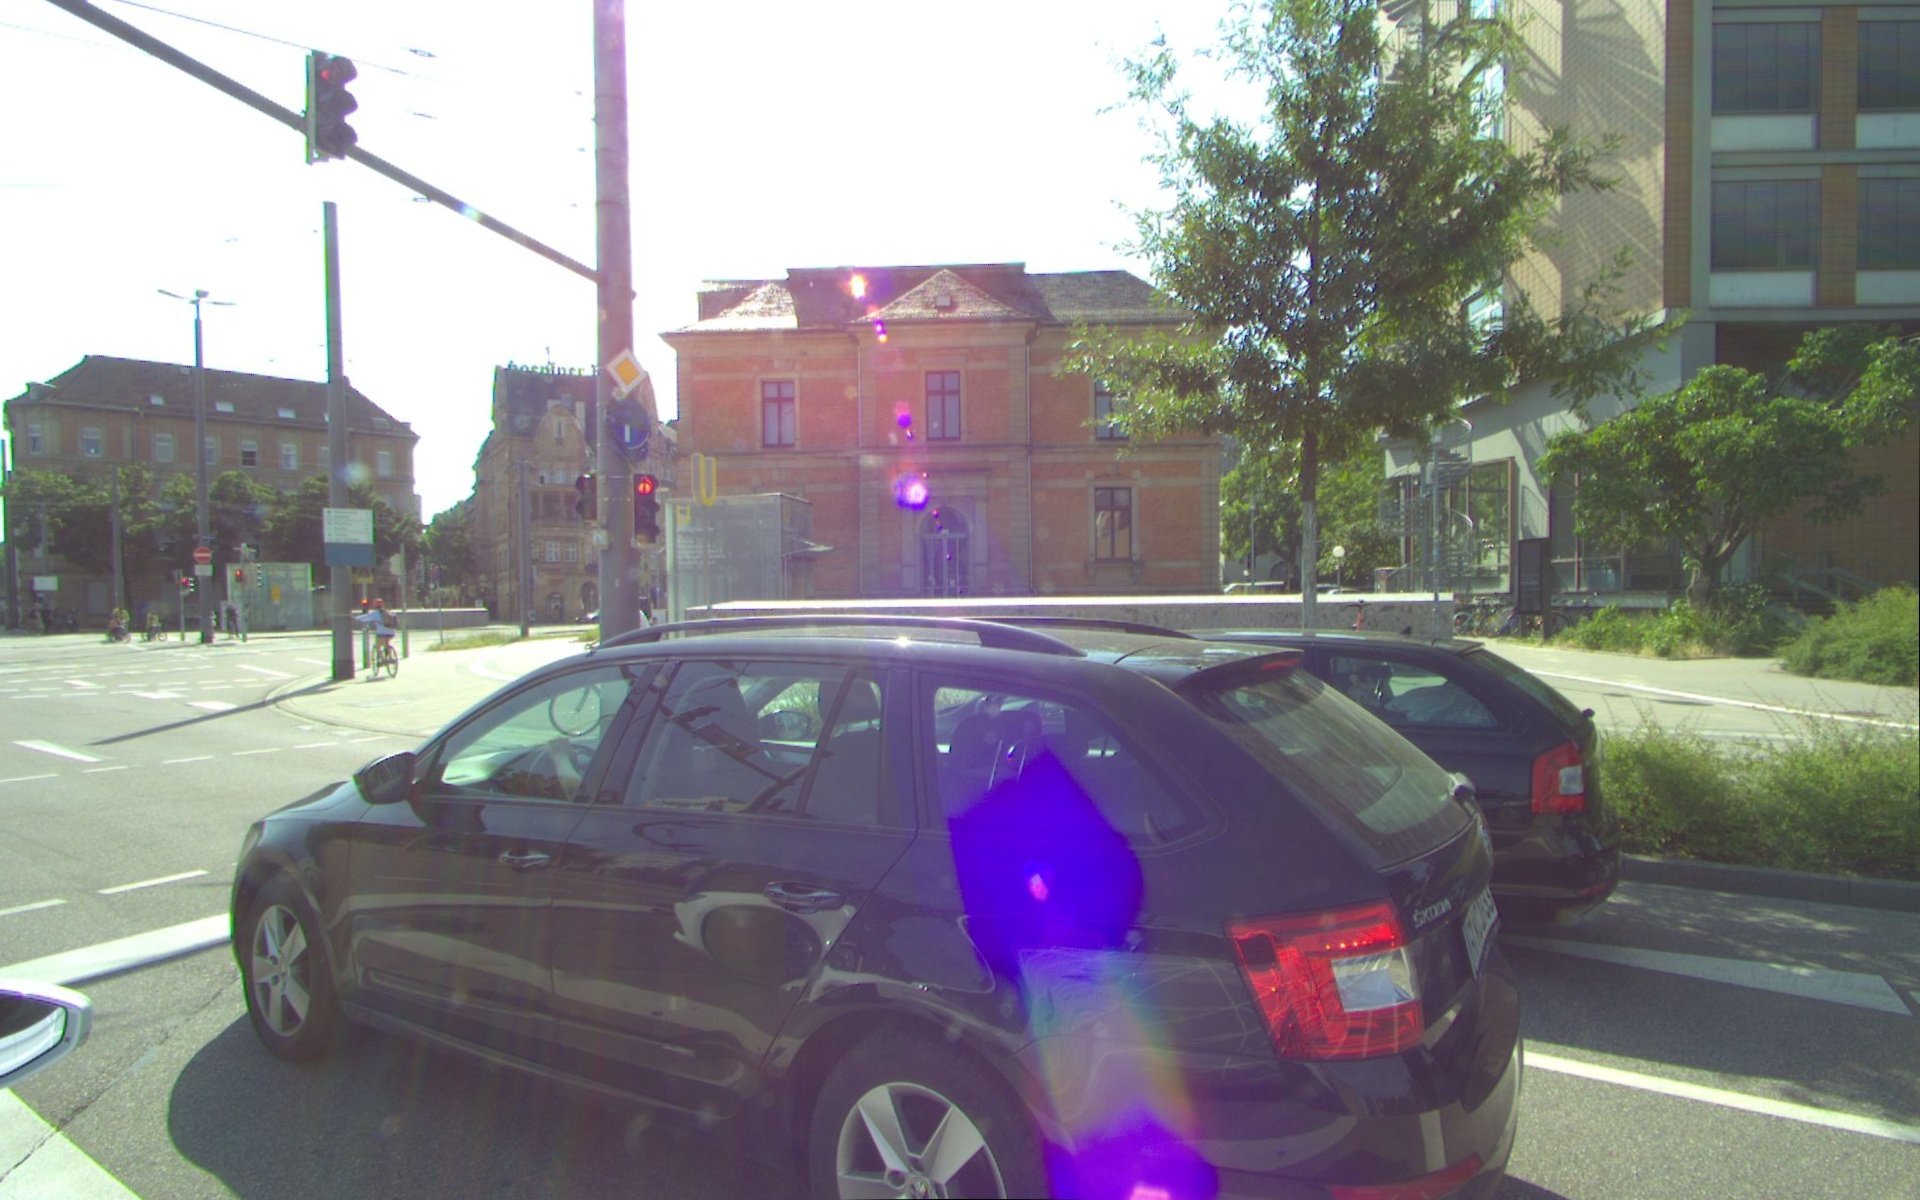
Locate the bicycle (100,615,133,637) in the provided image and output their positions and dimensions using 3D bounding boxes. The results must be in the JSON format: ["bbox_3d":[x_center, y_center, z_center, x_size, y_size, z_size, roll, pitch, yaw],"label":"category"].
[{"bbox_3d":[-42.134,1.328,50.002,2.717,1.083,0.922,-2,-2,42],"label":"bicycle"}]

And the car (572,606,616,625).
[{"bbox_3d":[-31.032,1.340,85.038,1.608,1.604,3.998,-1,-1,12],"label":"car"}]

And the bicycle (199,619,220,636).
[{"bbox_3d":[-39.852,1.465,53.181,1.567,0.877,0.498,0,-1,38],"label":"bicycle"}]

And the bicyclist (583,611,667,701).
[{"bbox_3d":[-4.262,0.688,12.730,0.901,1.043,0.714,-3,2,-24],"label":"bicyclist"}]

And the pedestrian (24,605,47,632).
[{"bbox_3d":[-51.133,1.015,55.368,0.699,1.451,0.614,0,-1,-5],"label":"pedestrian"}]

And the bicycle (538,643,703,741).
[{"bbox_3d":[-4.304,1.132,12.715,1.887,1.029,0.714,-3,2,-24],"label":"bicycle"}]

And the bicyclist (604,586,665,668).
[{"bbox_3d":[-6.103,0.513,18.785,0.939,1.507,0.711,-1,-2,40],"label":"bicyclist"}]

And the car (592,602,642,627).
[{"bbox_3d":[-19.243,0.811,56.348,1.639,1.331,3.452,-1,0,-1],"label":"car"}]

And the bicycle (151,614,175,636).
[{"bbox_3d":[-41.175,1.298,51.733,0.919,1.083,2.819,1,-1,-38],"label":"bicycle"}]

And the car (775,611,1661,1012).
[{"bbox_3d":[1.180,0.808,5.583,4.333,1.449,1.697,0,1,31],"label":"car"}]

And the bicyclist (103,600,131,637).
[{"bbox_3d":[-42.024,0.935,49.919,1.041,1.843,0.922,-1,-2,43],"label":"bicyclist"}]

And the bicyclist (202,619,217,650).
[{"bbox_3d":[-39.882,1.832,53.205,0.641,1.642,0.498,0,-1,38],"label":"bicyclist"}]

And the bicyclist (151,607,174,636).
[{"bbox_3d":[-41.083,1.100,51.604,0.919,1.470,1.242,1,-1,-38],"label":"bicyclist"}]

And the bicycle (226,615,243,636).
[{"bbox_3d":[-39.072,1.378,53.932,0.660,1.083,2.447,1,-1,-35],"label":"bicycle"}]

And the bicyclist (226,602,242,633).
[{"bbox_3d":[-39.001,0.931,53.832,0.660,1.645,0.777,1,0,-35],"label":"bicyclist"}]

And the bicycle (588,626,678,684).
[{"bbox_3d":[-6.166,1.020,18.825,1.998,1.028,0.711,-2,-1,41],"label":"bicycle"}]

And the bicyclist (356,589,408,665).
[{"bbox_3d":[-13.277,0.611,22.996,0.864,1.692,0.710,0,3,40],"label":"bicyclist"}]

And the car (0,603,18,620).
[{"bbox_3d":[-116.913,1.450,122.724,2.094,2.040,3.962,-1,0,-43],"label":"car"}]

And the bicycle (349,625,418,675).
[{"bbox_3d":[-13.262,1.127,23.031,1.997,1.029,0.710,-1,3,41],"label":"bicycle"}]

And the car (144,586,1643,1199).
[{"bbox_3d":[-0.675,0.770,3.286,4.710,1.454,1.628,-1,-1,31],"label":"car"}]
